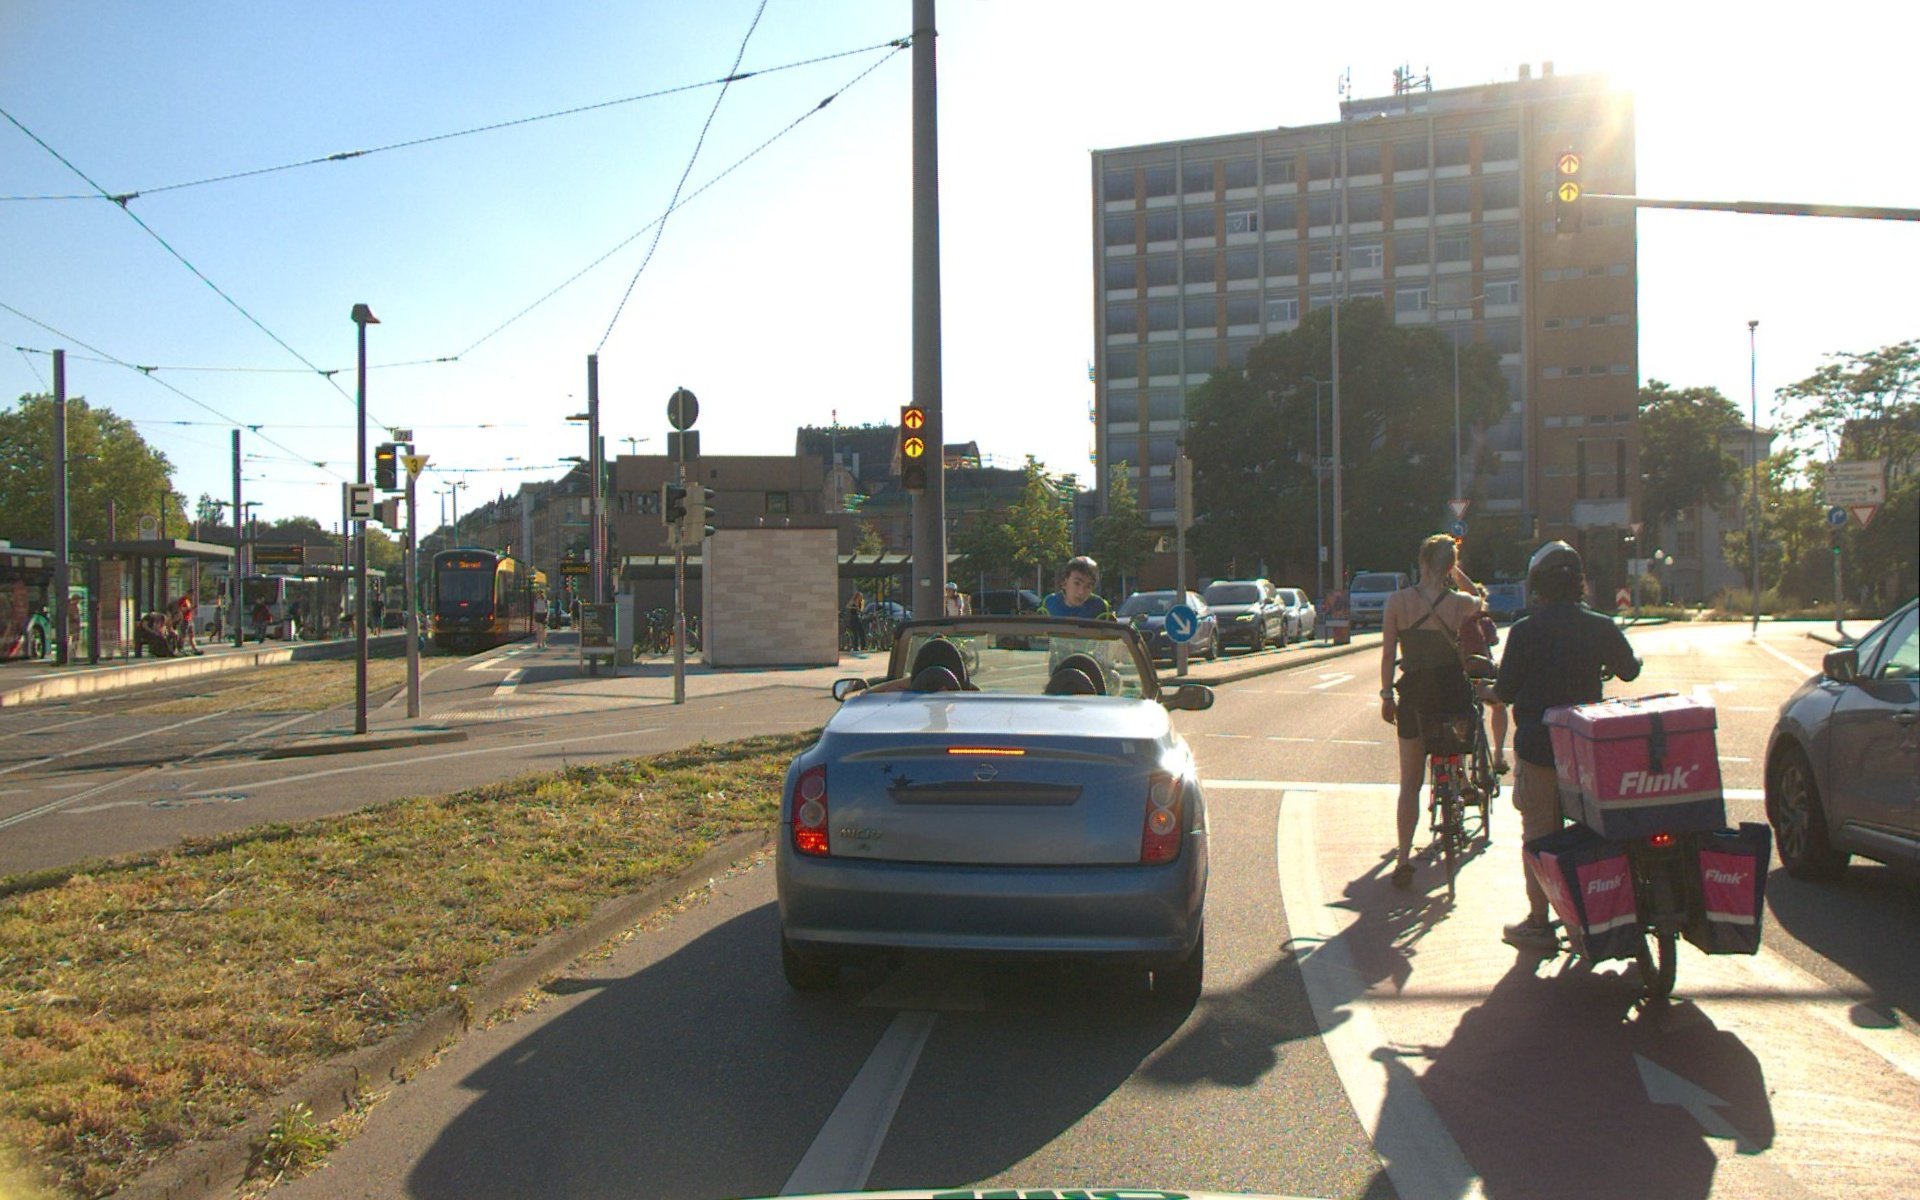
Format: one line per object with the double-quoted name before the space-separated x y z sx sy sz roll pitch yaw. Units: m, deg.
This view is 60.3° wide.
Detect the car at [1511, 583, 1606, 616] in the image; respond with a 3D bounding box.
"car" 31.094 -0.005 85.975 4.301 1.557 1.800 -2 -1 33

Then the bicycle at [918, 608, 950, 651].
"bicycle" -0.731 0.806 45.541 0.595 1.134 1.892 1 0 -10

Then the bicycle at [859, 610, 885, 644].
"bicycle" -3.020 0.909 56.687 0.596 1.134 1.890 1 0 -13

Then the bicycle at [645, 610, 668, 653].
"bicycle" -8.424 0.859 45.851 0.596 1.134 1.891 1 0 -11

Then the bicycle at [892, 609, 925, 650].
"bicycle" -1.496 0.829 47.546 0.596 1.134 1.890 1 0 -13

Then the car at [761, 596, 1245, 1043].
"car" 0.354 0.745 7.684 1.625 1.466 4.157 1 0 6

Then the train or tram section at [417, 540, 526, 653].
"train or tram section" -17.646 -0.108 60.411 2.831 3.659 12.161 1 0 -12

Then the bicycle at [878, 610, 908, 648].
"bicycle" -2.088 0.884 51.224 0.596 1.134 1.890 1 0 -13

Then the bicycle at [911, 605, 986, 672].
"bicycle" -0.197 0.710 31.344 0.660 1.201 2.183 -1 0 21

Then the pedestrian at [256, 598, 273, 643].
"pedestrian" -27.783 0.831 66.054 0.562 1.779 0.636 -1 0 -20

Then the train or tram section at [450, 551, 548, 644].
"train or tram section" -19.980 -0.086 72.365 2.957 3.659 12.169 1 0 -10

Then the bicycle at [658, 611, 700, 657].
"bicycle" -7.184 0.855 42.340 0.594 1.134 1.898 1 0 5

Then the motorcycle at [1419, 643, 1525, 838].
"motorcycle" 3.418 0.872 11.115 0.600 1.117 2.361 1 0 16

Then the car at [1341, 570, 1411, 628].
"car" 15.243 -0.051 60.435 1.869 1.979 4.707 -3 -1 21

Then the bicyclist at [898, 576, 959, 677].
"bicyclist" -0.543 0.454 28.764 0.694 1.686 0.901 -3 -1 21

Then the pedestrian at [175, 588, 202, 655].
"pedestrian" -20.707 0.580 44.409 0.561 1.779 0.637 -1 0 -17

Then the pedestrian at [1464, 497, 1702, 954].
"pedestrian" 2.762 0.522 7.429 0.789 1.901 0.957 1 -1 8

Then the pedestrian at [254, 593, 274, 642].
"pedestrian" -25.402 0.632 60.376 0.630 1.779 0.567 -1 0 -27

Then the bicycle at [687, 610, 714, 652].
"bicycle" -7.279 0.860 46.338 0.596 1.134 1.890 1 0 -13

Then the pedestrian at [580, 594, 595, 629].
"pedestrian" -18.811 0.577 83.581 0.628 1.779 0.732 -1 0 -19

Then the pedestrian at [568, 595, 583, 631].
"pedestrian" -19.276 0.665 82.942 0.628 1.779 0.732 -1 0 -19

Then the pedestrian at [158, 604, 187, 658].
"pedestrian" -20.252 0.801 42.551 0.561 1.369 0.637 -1 0 -17

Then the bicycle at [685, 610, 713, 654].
"bicycle" -6.989 0.843 44.279 0.596 1.134 1.890 1 0 -13

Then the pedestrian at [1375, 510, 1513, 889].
"pedestrian" 2.559 0.499 8.813 0.645 1.901 0.873 1 -1 14

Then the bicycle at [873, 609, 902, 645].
"bicycle" -2.338 0.865 53.192 0.596 1.134 1.890 1 0 -13

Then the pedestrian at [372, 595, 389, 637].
"pedestrian" -24.844 0.684 70.914 0.630 1.779 0.567 -1 0 -27

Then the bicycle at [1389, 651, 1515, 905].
"bicycle" 2.637 0.888 9.001 0.552 1.171 1.951 1 0 14

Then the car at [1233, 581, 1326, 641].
"car" 9.012 0.279 46.460 1.661 1.588 3.977 -1 0 25

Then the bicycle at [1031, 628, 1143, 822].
"bicycle" 0.952 0.829 11.901 0.595 1.212 2.416 1 0 9

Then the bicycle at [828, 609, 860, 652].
"bicycle" -3.162 0.822 45.060 0.596 1.134 1.890 1 0 -13

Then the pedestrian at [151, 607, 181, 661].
"pedestrian" -20.095 0.854 41.871 0.606 1.364 0.438 -1 0 -18

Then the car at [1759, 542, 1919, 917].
"car" 5.284 0.606 7.402 1.792 1.719 4.372 1 0 8

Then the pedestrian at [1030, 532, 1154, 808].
"pedestrian" 0.968 0.484 11.970 0.815 1.901 0.921 1 -1 8

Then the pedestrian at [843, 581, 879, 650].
"pedestrian" -2.797 0.433 46.665 0.885 1.901 0.685 1 -1 -13

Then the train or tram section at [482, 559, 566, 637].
"train or tram section" -22.045 -0.072 84.260 2.984 3.659 12.024 1 0 -10

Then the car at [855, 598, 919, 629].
"car" -3.913 0.737 88.409 1.629 1.588 3.549 -1 0 -39

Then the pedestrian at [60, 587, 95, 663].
"pedestrian" -20.972 0.588 39.322 0.527 1.779 0.559 -1 0 -6

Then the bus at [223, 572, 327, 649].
"bus" -32.734 0.464 79.557 2.675 3.331 13.413 1 0 -14

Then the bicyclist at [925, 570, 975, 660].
"bicyclist" -0.191 0.282 31.380 0.694 1.686 0.743 -1 0 21

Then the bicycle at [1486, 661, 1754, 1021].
"bicycle" 2.727 0.899 7.076 0.542 1.192 2.374 1 0 9

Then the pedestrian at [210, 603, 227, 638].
"pedestrian" -38.000 1.060 84.814 0.626 1.779 0.571 -1 0 -8

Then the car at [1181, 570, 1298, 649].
"car" 6.794 0.213 39.855 1.726 1.736 4.529 -2 -1 23

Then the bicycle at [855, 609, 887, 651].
"bicycle" -2.559 0.841 47.142 0.596 1.134 1.890 1 0 -13

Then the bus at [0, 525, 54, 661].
"bus" -23.562 -0.180 37.173 2.606 3.190 9.619 1 0 -10

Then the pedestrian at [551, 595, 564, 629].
"pedestrian" -21.789 0.645 89.582 0.593 1.779 0.830 -1 0 -8

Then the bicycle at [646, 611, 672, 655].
"bicycle" -7.993 0.858 43.933 0.596 1.134 1.890 1 0 -13

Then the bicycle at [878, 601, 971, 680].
"bicycle" -0.587 0.676 28.618 0.660 1.272 2.457 -3 -1 21

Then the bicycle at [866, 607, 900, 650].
"bicycle" -2.111 0.781 45.217 0.596 1.134 1.890 1 0 -13

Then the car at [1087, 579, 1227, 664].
"car" 4.072 0.423 33.687 1.702 1.601 3.921 1 0 25

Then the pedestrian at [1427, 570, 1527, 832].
"pedestrian" 3.381 0.629 10.853 0.575 1.626 1.025 1 -1 16

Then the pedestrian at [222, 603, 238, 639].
"pedestrian" -37.345 1.074 84.655 0.627 1.779 0.570 -1 0 -13

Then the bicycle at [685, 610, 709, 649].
"bicycle" -7.979 0.891 50.201 0.596 1.134 1.890 1 0 -13

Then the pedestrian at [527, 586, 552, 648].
"pedestrian" -12.290 0.497 48.335 0.628 1.779 0.569 -1 0 -19
